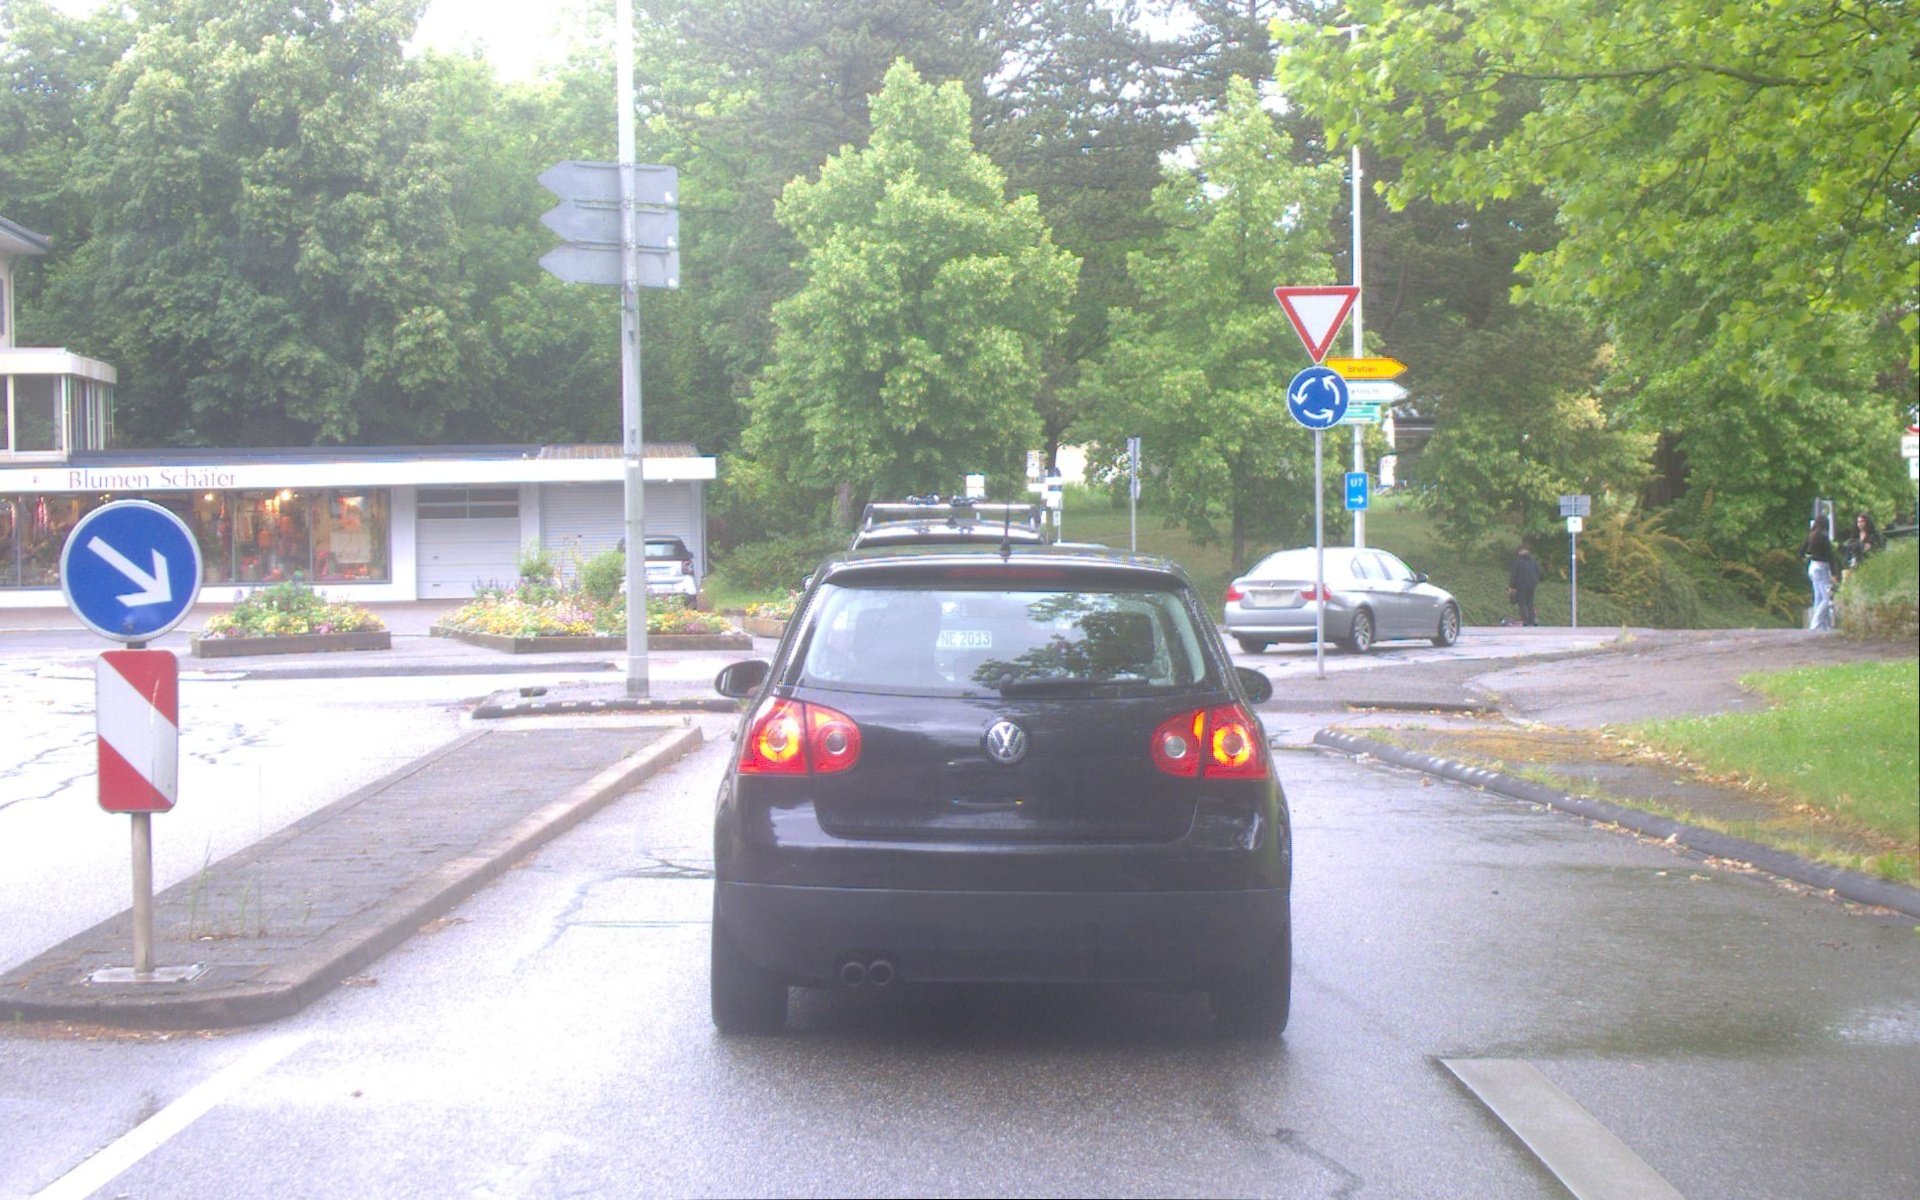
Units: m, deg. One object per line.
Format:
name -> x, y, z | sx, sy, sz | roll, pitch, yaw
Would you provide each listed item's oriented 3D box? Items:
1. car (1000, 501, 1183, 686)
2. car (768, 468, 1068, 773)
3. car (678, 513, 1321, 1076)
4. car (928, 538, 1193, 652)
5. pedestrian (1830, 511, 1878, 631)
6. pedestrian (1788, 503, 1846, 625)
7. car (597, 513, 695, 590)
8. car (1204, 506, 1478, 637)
car -> 1.394, -0.088, 36.276 | 1.765, 1.795, 4.246 | -2, 1, 2
car -> -0.333, 0.101, 22.911 | 1.764, 1.795, 4.247 | -2, 1, -2
car -> 0.236, 0.490, 11.528 | 1.765, 1.533, 4.000 | 1, 1, 4
car -> 1.566, -0.107, 54.702 | 1.994, 1.735, 4.142 | 0, 1, -39
pedestrian -> 12.809, -0.413, 49.248 | 0.634, 1.707, 0.529 | 1, 0, 16
pedestrian -> 12.142, -0.506, 48.730 | 0.528, 1.707, 0.636 | 1, 0, -15
car -> -6.493, -1.015, 70.812 | 1.812, 1.481, 3.832 | -2, 1, -8
car -> 5.168, -0.379, 46.190 | 1.997, 1.678, 4.025 | 1, 1, 34
